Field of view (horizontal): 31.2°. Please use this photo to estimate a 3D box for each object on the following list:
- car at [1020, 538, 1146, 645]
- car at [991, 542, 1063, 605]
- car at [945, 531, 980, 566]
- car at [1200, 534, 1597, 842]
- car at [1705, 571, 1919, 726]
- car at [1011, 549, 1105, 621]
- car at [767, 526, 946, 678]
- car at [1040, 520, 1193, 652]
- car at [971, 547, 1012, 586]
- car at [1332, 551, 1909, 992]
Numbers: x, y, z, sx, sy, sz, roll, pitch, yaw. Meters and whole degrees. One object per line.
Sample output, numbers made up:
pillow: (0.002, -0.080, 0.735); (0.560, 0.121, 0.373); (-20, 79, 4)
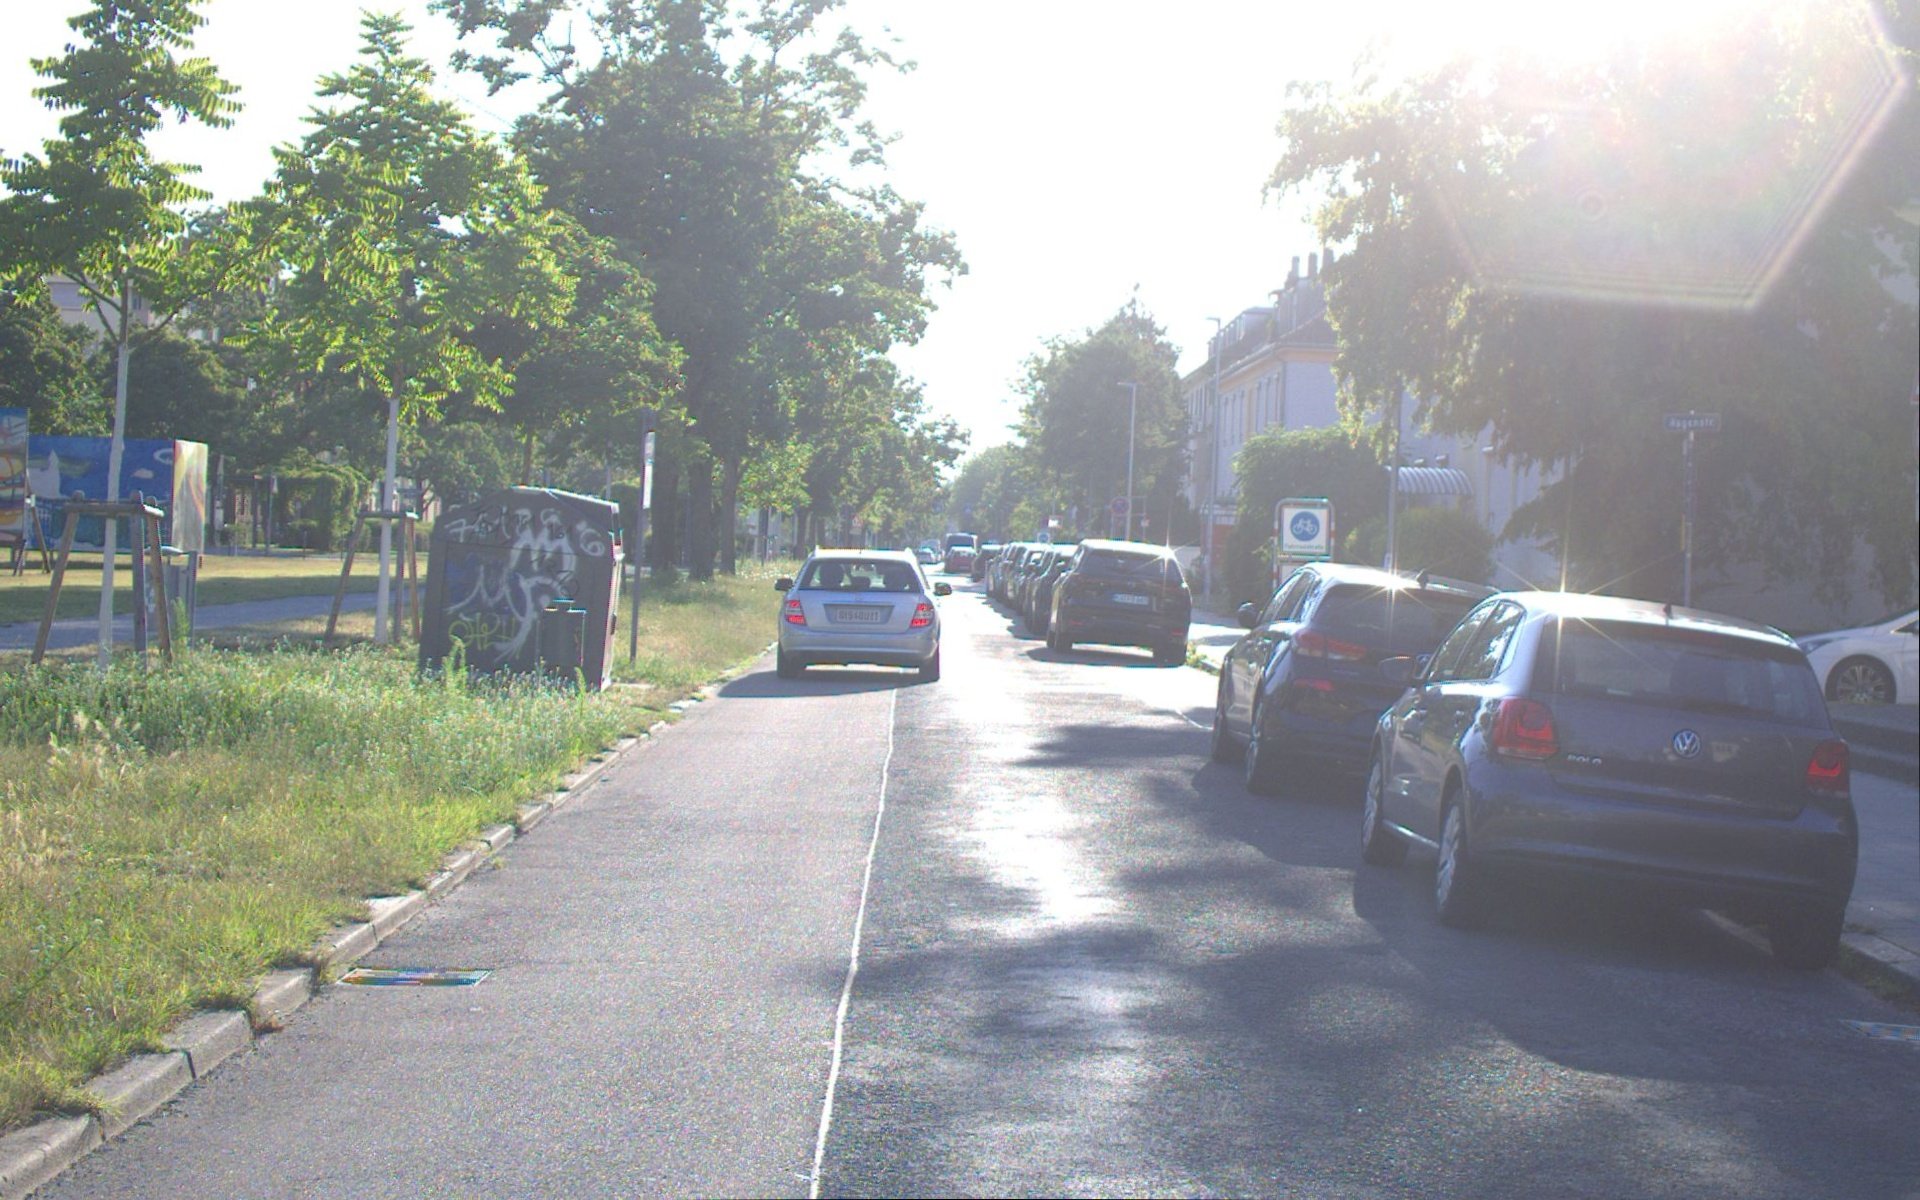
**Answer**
car: (2.198, -0.198, 62.761); (1.933, 1.714, 4.621); (5, 1, -1)
car: (1.832, -0.740, 95.095); (1.777, 1.637, 4.757); (2, 0, -1)
car: (0.165, -3.098, 207.393); (1.988, 2.016, 4.000); (3, 1, 0)
car: (2.740, 0.475, 22.521); (1.822, 1.556, 4.622); (8, 1, 0)
car: (10.679, 0.612, 36.943); (4.846, 1.481, 2.002); (3, -3, -1)
car: (2.202, -0.363, 78.677); (1.993, 1.457, 4.561); (4, 1, 1)
car: (-1.100, -0.023, 38.164); (1.823, 1.561, 4.000); (1, 1, 0)
car: (2.267, -0.206, 50.968); (1.832, 1.726, 5.032); (5, 0, -1)
car: (1.356, -1.449, 149.077); (1.721, 1.591, 4.000); (2, 0, 0)
car: (2.862, 0.655, 15.814); (1.687, 1.522, 4.175); (6, 2, 0)
